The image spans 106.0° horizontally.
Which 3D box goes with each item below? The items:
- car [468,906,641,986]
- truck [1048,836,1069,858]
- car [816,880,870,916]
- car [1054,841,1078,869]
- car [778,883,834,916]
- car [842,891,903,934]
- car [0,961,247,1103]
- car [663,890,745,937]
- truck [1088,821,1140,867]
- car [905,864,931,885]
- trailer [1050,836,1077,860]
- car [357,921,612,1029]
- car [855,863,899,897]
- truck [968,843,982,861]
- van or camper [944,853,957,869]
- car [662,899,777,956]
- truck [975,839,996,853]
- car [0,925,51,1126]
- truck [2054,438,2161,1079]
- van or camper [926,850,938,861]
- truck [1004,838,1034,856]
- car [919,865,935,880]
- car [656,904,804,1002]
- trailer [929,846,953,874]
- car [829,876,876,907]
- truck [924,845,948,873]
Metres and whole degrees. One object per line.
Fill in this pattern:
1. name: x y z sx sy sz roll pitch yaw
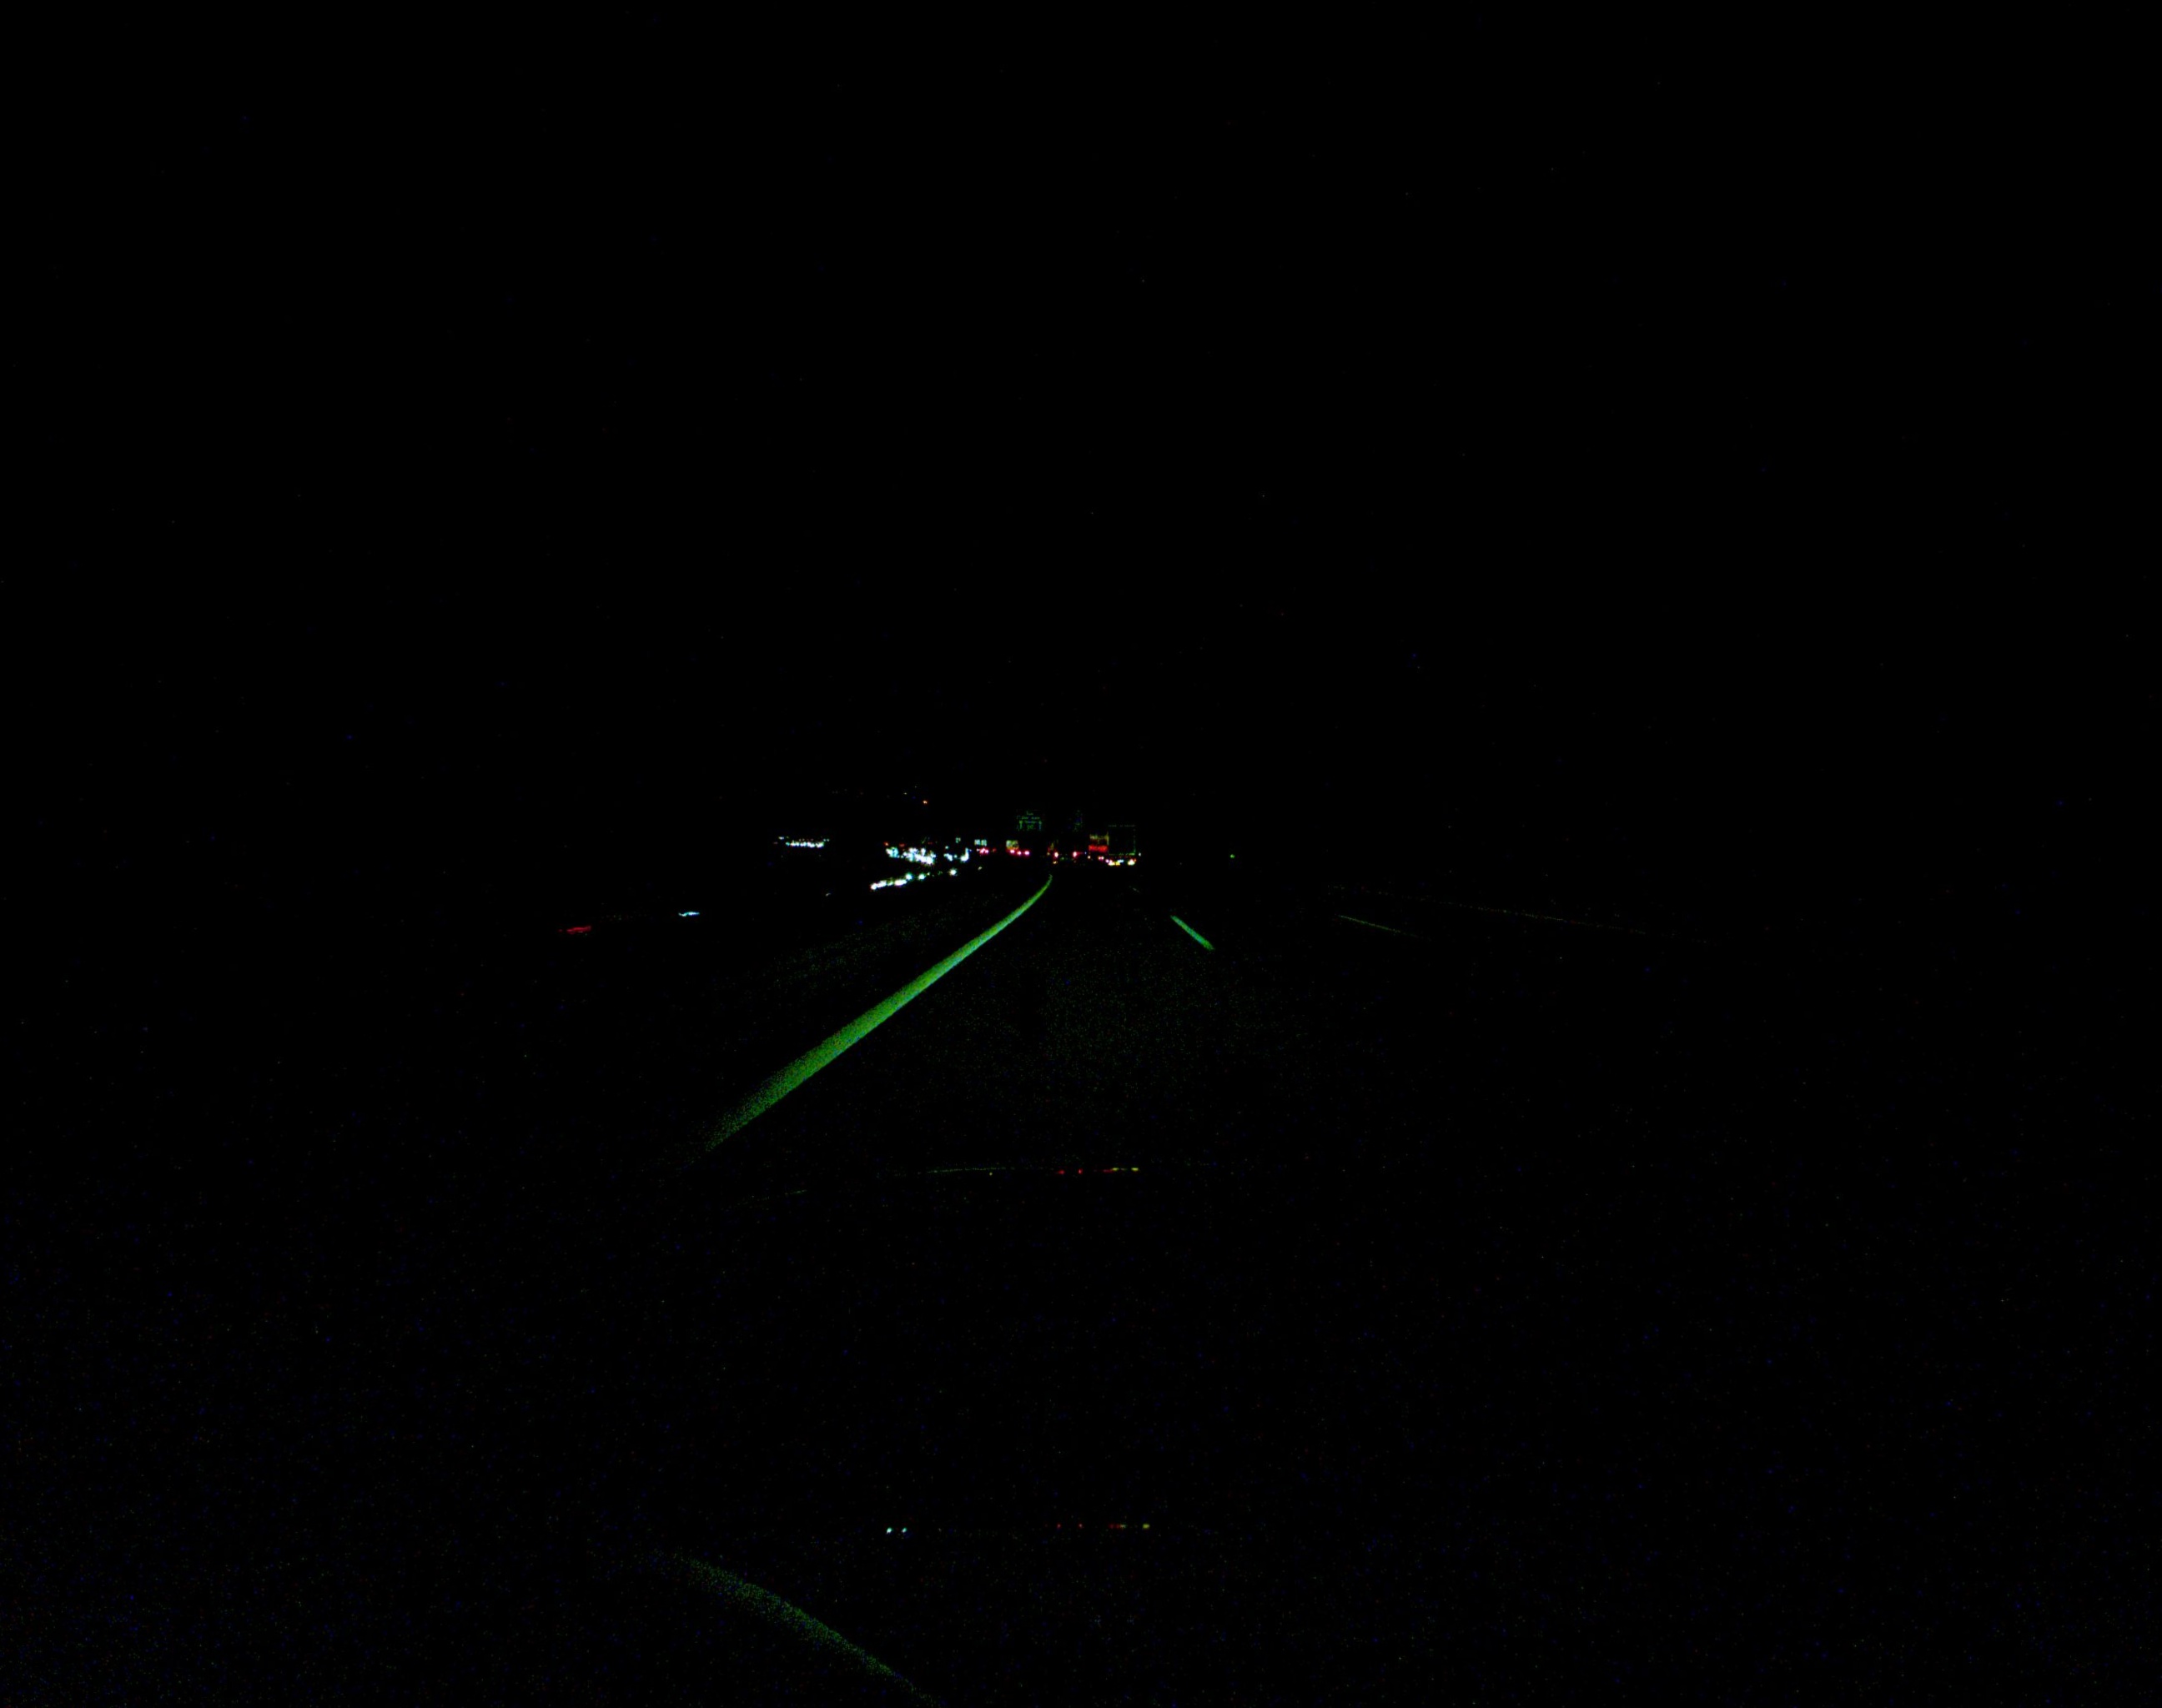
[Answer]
1. car: -14.910 2.532 23.478 2.072 1.634 4.911 -3 0 -6
2. truck: -4.357 -1.445 158.643 2.863 4.076 7.484 -2 2 -11
3. car: -12.000 2.183 41.277 1.820 1.458 3.992 -4 0 -5
4. car: -1.498 0.097 80.386 2.331 2.640 5.244 1 0 -2
5. car: -15.192 2.472 45.182 1.819 1.458 3.995 -4 0 -4
6. car: -8.919 2.472 35.172 1.813 1.469 4.273 -2 1 -4
7. car: -15.464 2.627 11.848 1.898 1.453 4.707 -1 0 -2
8. car: -16.092 2.496 35.004 1.748 1.716 3.996 -1 0 -2
9. truck: 3.052 -0.926 82.954 3.475 4.134 18.686 -1 0 -3
10. car: -17.965 2.180 90.027 2.135 2.054 5.106 -3 1 -4
11. trailer: -3.440 -1.274 153.655 2.855 4.066 13.159 -2 2 -11
12. car: -11.937 2.340 16.815 1.898 1.453 4.707 -1 0 -2
13. car: -15.742 1.942 63.114 2.022 2.441 5.692 -1 0 -1
14. truck: -21.945 -0.349 168.113 2.653 3.591 8.526 -1 0 -8
15. van or camper: -25.654 1.261 160.141 1.837 2.971 6.368 -3 1 -14
16. car: -12.042 2.390 27.526 1.898 1.453 4.707 -1 0 -2
17. truck: -30.160 -2.543 256.373 3.355 4.475 13.818 0 1 -20
18. car: -11.810 1.808 7.003 1.616 2.013 3.324 -3 0 -2
19. truck: 7.722 -0.561 1.364 2.855 3.839 8.060 0 0 3
20. van or camper: -38.725 0.386 211.545 2.451 2.760 6.451 -3 1 -17
21. truck: -16.650 -2.028 216.677 3.923 4.626 20.909 0 1 -15
22. car: -16.659 1.942 88.084 1.602 1.442 3.984 -3 1 -12
23. car: -8.652 2.368 20.490 1.726 1.857 4.003 -3 0 3
24. trailer: -23.488 0.927 137.404 3.434 4.240 12.795 -3 1 -8
25. car: -14.690 2.393 52.557 1.946 1.716 3.996 -2 0 -2
26. truck: -23.310 0.822 131.415 3.417 4.222 6.264 -3 1 -8
